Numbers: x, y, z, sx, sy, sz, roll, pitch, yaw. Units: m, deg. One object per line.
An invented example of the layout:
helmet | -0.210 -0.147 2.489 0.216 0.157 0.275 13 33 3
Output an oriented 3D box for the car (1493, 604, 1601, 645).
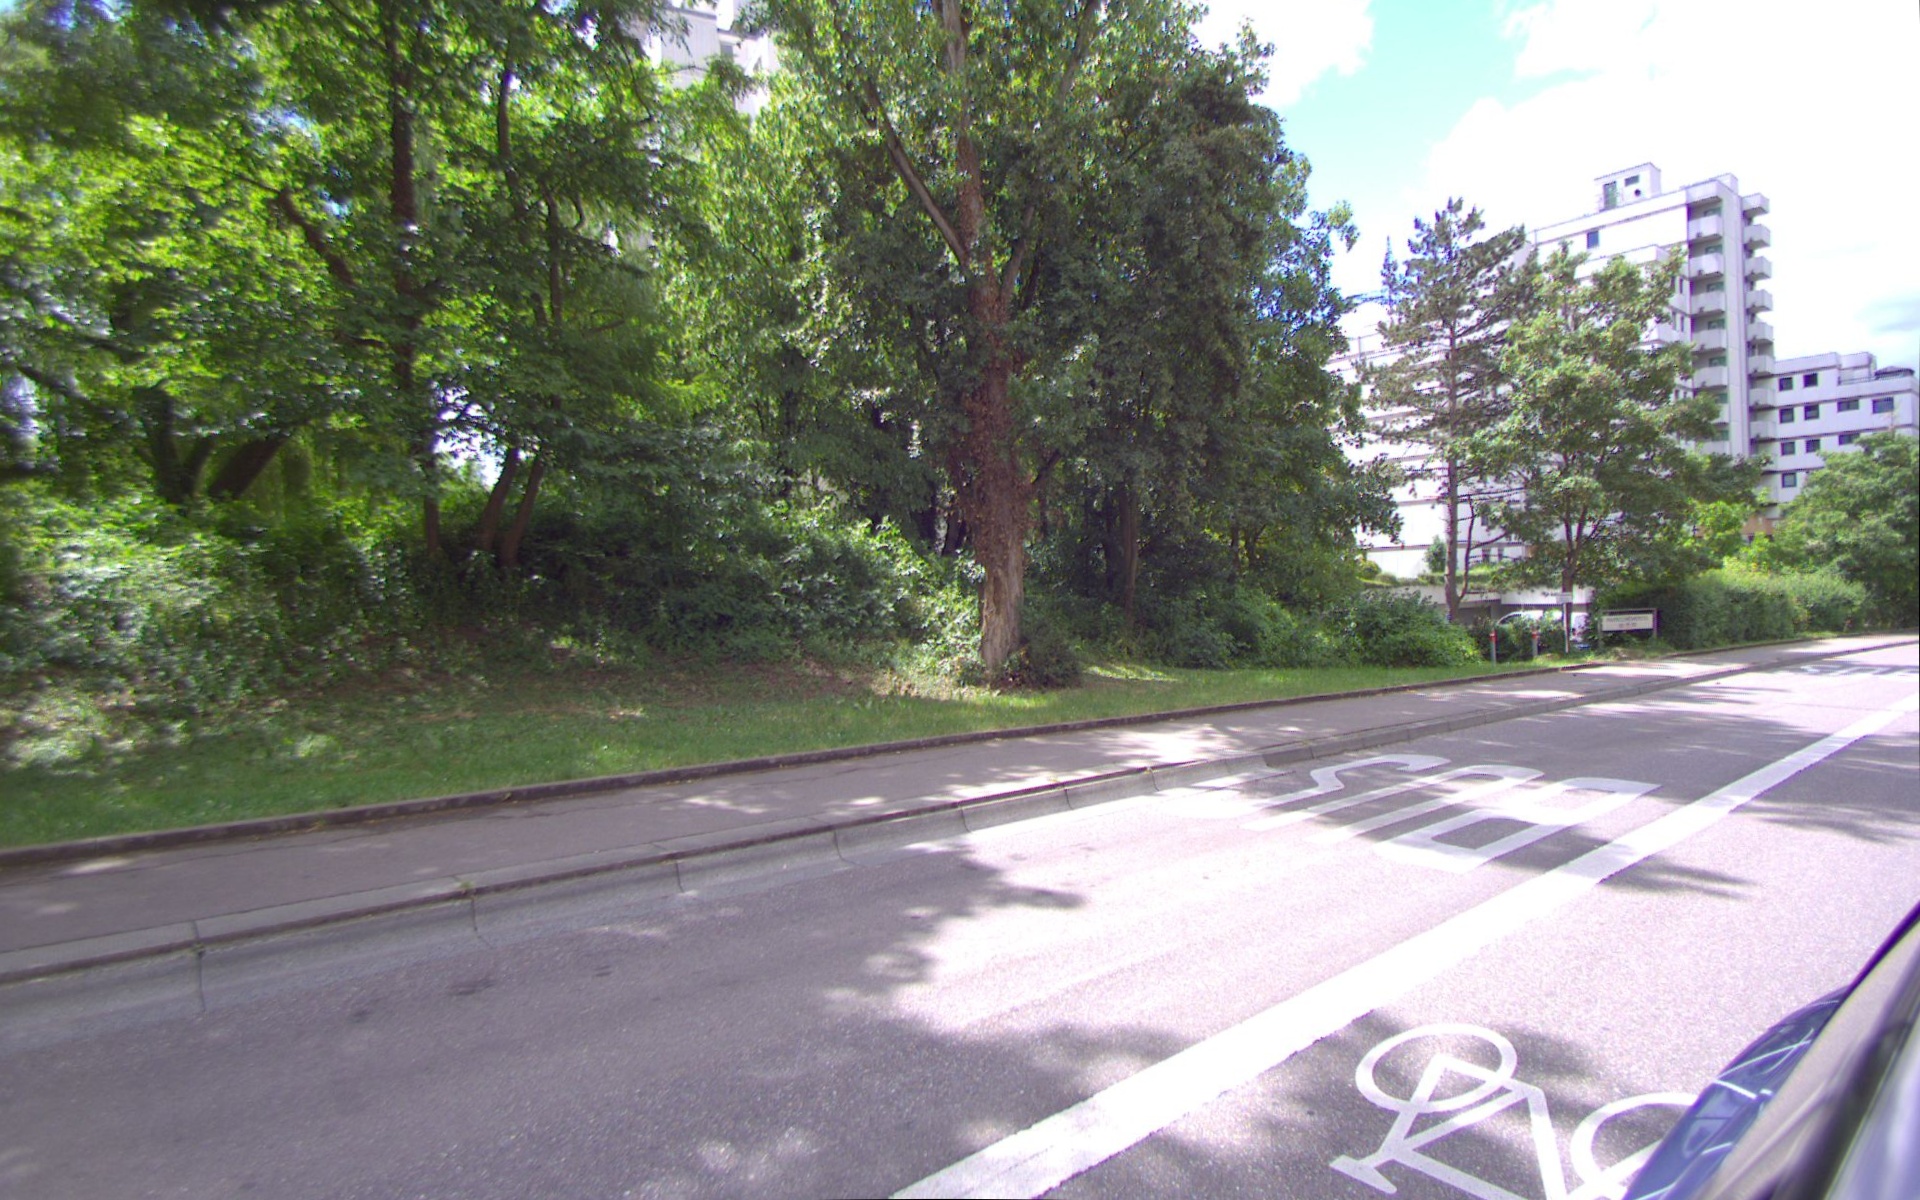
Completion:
car | 31.044 1.227 53.640 1.962 2.039 4.549 -1 0 -34
